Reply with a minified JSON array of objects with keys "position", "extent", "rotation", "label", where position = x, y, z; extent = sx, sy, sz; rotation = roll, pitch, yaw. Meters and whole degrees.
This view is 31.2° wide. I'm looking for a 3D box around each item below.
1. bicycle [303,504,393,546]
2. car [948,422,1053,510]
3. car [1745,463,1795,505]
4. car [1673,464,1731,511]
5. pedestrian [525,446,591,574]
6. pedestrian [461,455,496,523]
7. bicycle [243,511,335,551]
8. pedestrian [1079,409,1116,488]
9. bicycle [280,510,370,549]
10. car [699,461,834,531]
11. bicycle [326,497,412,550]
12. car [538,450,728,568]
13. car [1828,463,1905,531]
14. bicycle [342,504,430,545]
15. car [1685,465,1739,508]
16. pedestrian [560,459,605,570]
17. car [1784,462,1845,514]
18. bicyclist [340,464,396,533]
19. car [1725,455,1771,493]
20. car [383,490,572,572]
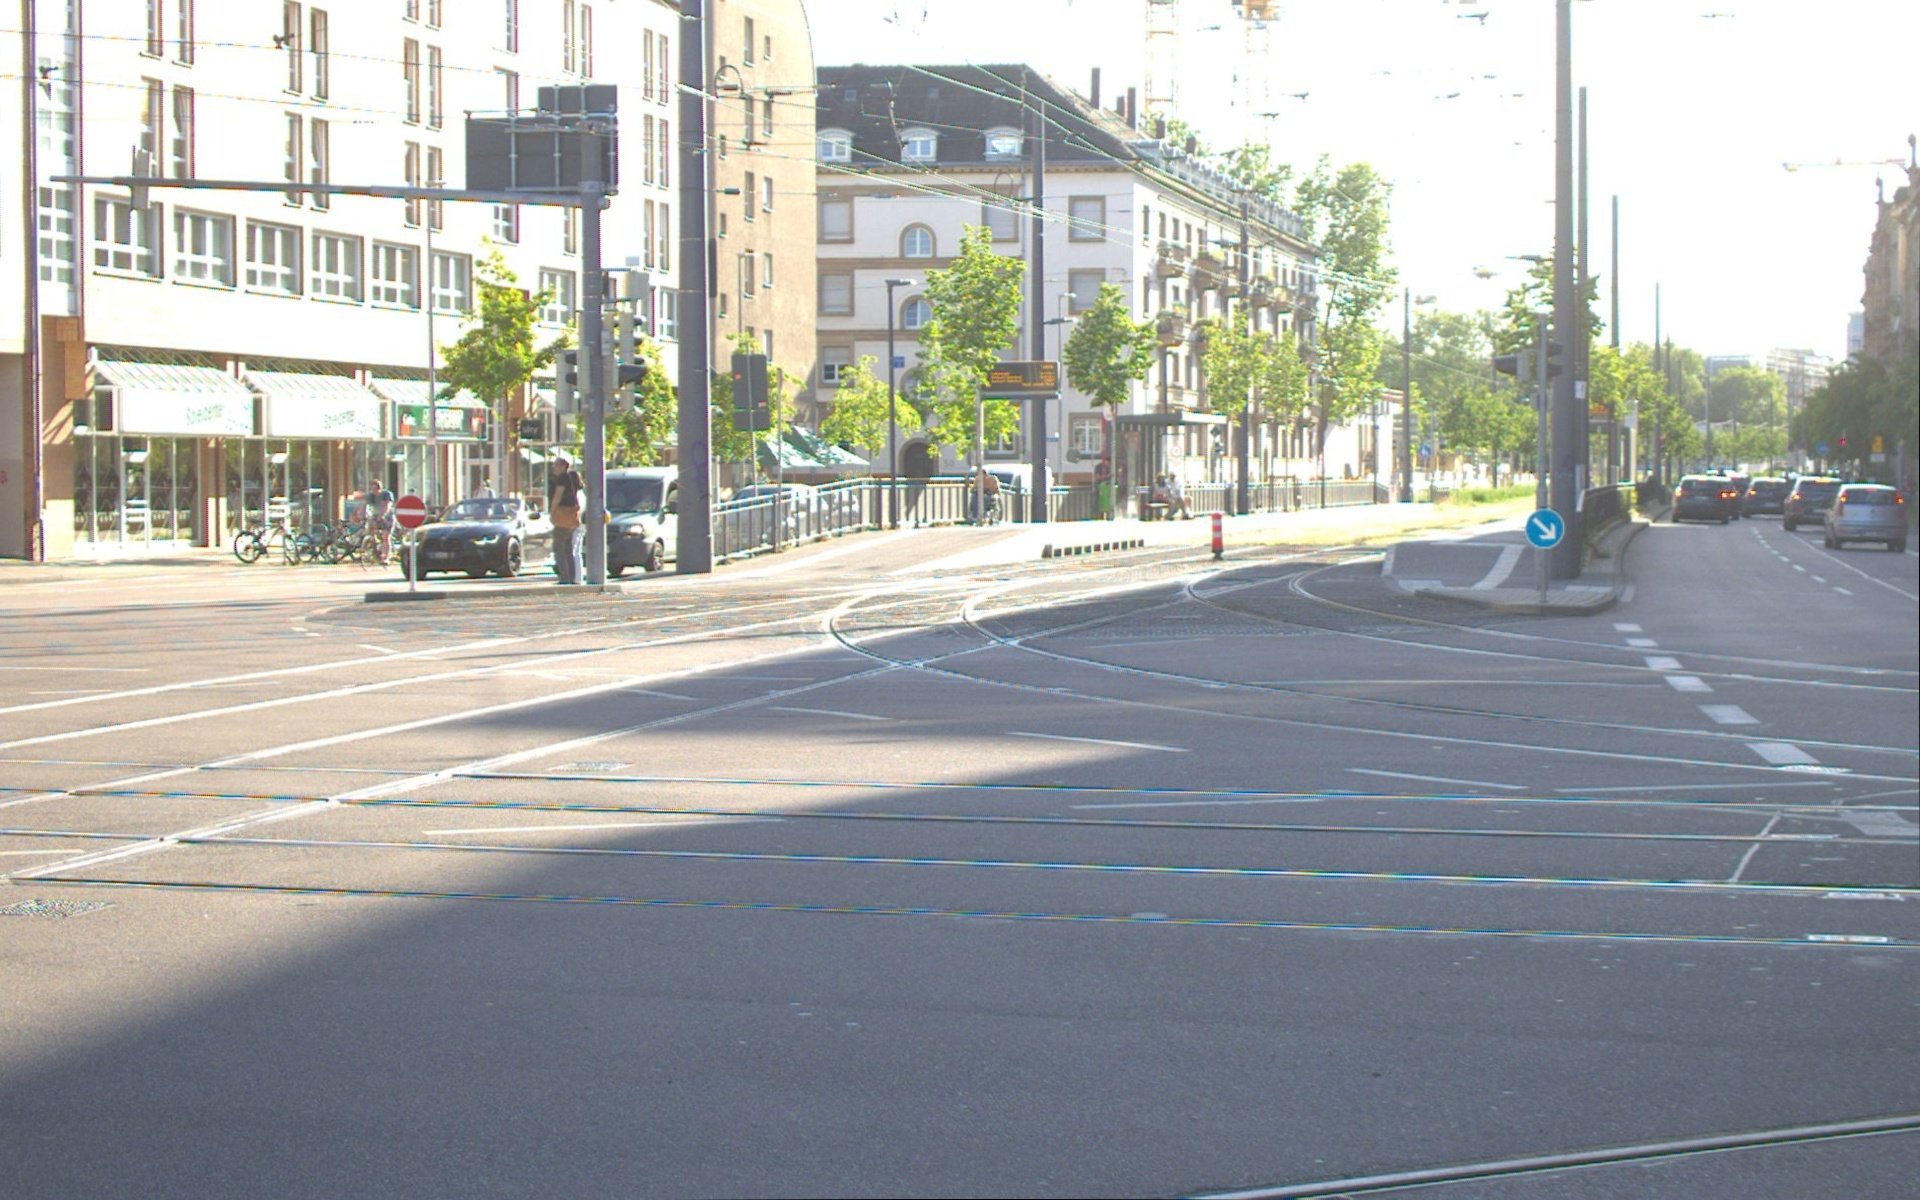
[{"position":[-13.687,-1.674,76.864],"extent":[2.036,0.917,0.482],"rotation":[1,3,24],"label":"bicycle"},{"position":[1.518,-4.880,123.472],"extent":[2.378,2.988,8.468],"rotation":[0,3,11],"label":"car"},{"position":[29.097,-4.169,123.422],"extent":[1.721,1.448,3.696],"rotation":[0,2,13],"label":"car"},{"position":[23.420,-3.555,108.422],"extent":[1.721,1.448,3.696],"rotation":[0,2,13],"label":"car"},{"position":[-5.449,-1.230,46.592],"extent":[0.721,1.721,0.594],"rotation":[1,2,15],"label":"pedestrian"},{"position":[-12.677,-2.922,90.455],"extent":[0.717,1.758,0.565],"rotation":[0,2,16],"label":"pedestrian"},{"position":[-14.463,-1.487,74.125],"extent":[2.036,0.842,0.482],"rotation":[1,3,24],"label":"bicycle"},{"position":[3.335,-3.675,83.287],"extent":[0.861,1.879,0.737],"rotation":[1,4,3],"label":"pedestrian"},{"position":[-13.951,-1.547,75.510],"extent":[2.036,0.842,0.482],"rotation":[1,3,24],"label":"bicycle"},{"position":[-4.174,-2.285,74.820],"extent":[1.840,1.443,4.296],"rotation":[-1,2,12],"label":"car"},{"position":[-11.834,-1.540,68.921],"extent":[0.810,0.987,2.508],"rotation":[0,3,12],"label":"bicycle"},{"position":[-5.329,-1.518,56.506],"extent":[1.840,1.829,4.105],"rotation":[-1,2,13],"label":"car"},{"position":[20.335,-2.336,77.189],"extent":[1.561,1.451,3.430],"rotation":[1,3,13],"label":"car"},{"position":[-13.020,-1.711,78.002],"extent":[2.036,0.917,0.482],"rotation":[1,3,24],"label":"bicycle"},{"position":[25.793,-3.899,117.833],"extent":[1.721,1.448,3.696],"rotation":[0,2,13],"label":"car"},{"position":[-5.369,-1.219,48.914],"extent":[0.580,1.571,0.647],"rotation":[0,2,0],"label":"pedestrian"},{"position":[24.546,-3.238,98.783],"extent":[1.672,1.448,3.696],"rotation":[0,2,13],"label":"car"},{"position":[-11.849,-2.035,68.860],"extent":[0.810,1.372,0.925],"rotation":[0,3,12],"label":"bicyclist"},{"position":[30.621,-4.894,133.499],"extent":[1.721,1.448,3.696],"rotation":[0,2,13],"label":"car"},{"position":[-8.170,-1.196,58.592],"extent":[1.840,1.264,4.228],"rotation":[-1,2,12],"label":"car"}]
